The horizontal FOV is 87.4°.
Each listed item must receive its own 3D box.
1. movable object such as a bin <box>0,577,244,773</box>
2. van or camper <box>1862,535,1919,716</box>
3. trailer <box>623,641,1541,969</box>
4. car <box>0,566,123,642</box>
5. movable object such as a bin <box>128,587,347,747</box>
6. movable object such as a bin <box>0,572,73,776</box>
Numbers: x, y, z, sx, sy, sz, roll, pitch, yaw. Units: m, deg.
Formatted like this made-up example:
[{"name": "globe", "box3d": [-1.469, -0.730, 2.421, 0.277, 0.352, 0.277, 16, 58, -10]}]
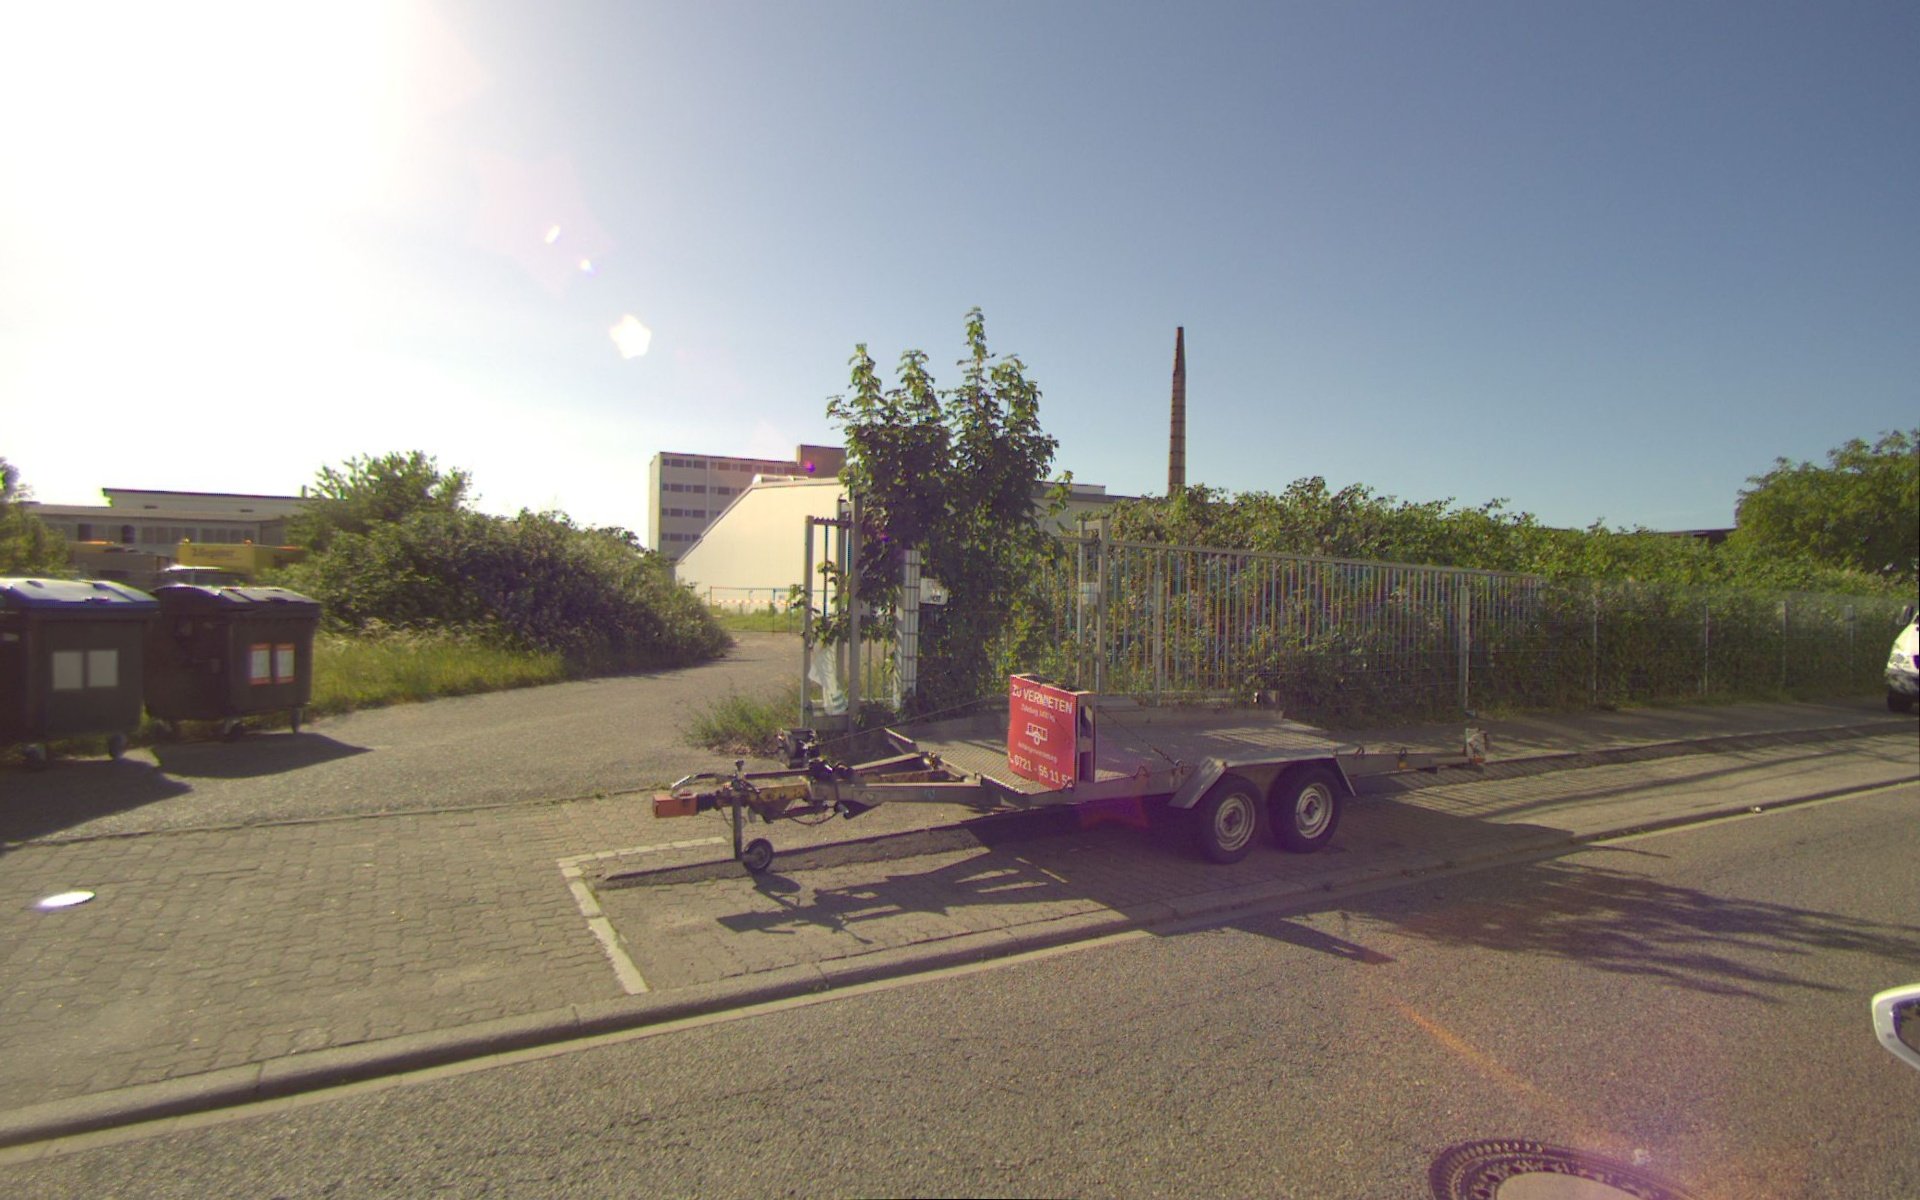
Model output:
[{"name": "movable object such as a bin", "box3d": [-6.988, 0.564, 8.315, 1.074, 1.461, 1.466, 1, 0, -2]}, {"name": "van or camper", "box3d": [17.362, 0.487, 16.336, 5.874, 2.722, 1.957, 1, 5, -29]}, {"name": "trailer", "box3d": [1.092, 1.002, 6.975, 6.173, 1.094, 2.363, 0, 4, -31]}, {"name": "car", "box3d": [-21.305, 0.055, 22.954, 1.819, 1.595, 4.156, 1, 0, -17]}, {"name": "movable object such as a bin", "box3d": [-6.984, 0.607, 9.824, 1.074, 1.424, 1.466, 1, 0, -2]}, {"name": "movable object such as a bin", "box3d": [-7.217, 0.506, 6.752, 1.074, 1.424, 1.623, 1, 0, -2]}]
